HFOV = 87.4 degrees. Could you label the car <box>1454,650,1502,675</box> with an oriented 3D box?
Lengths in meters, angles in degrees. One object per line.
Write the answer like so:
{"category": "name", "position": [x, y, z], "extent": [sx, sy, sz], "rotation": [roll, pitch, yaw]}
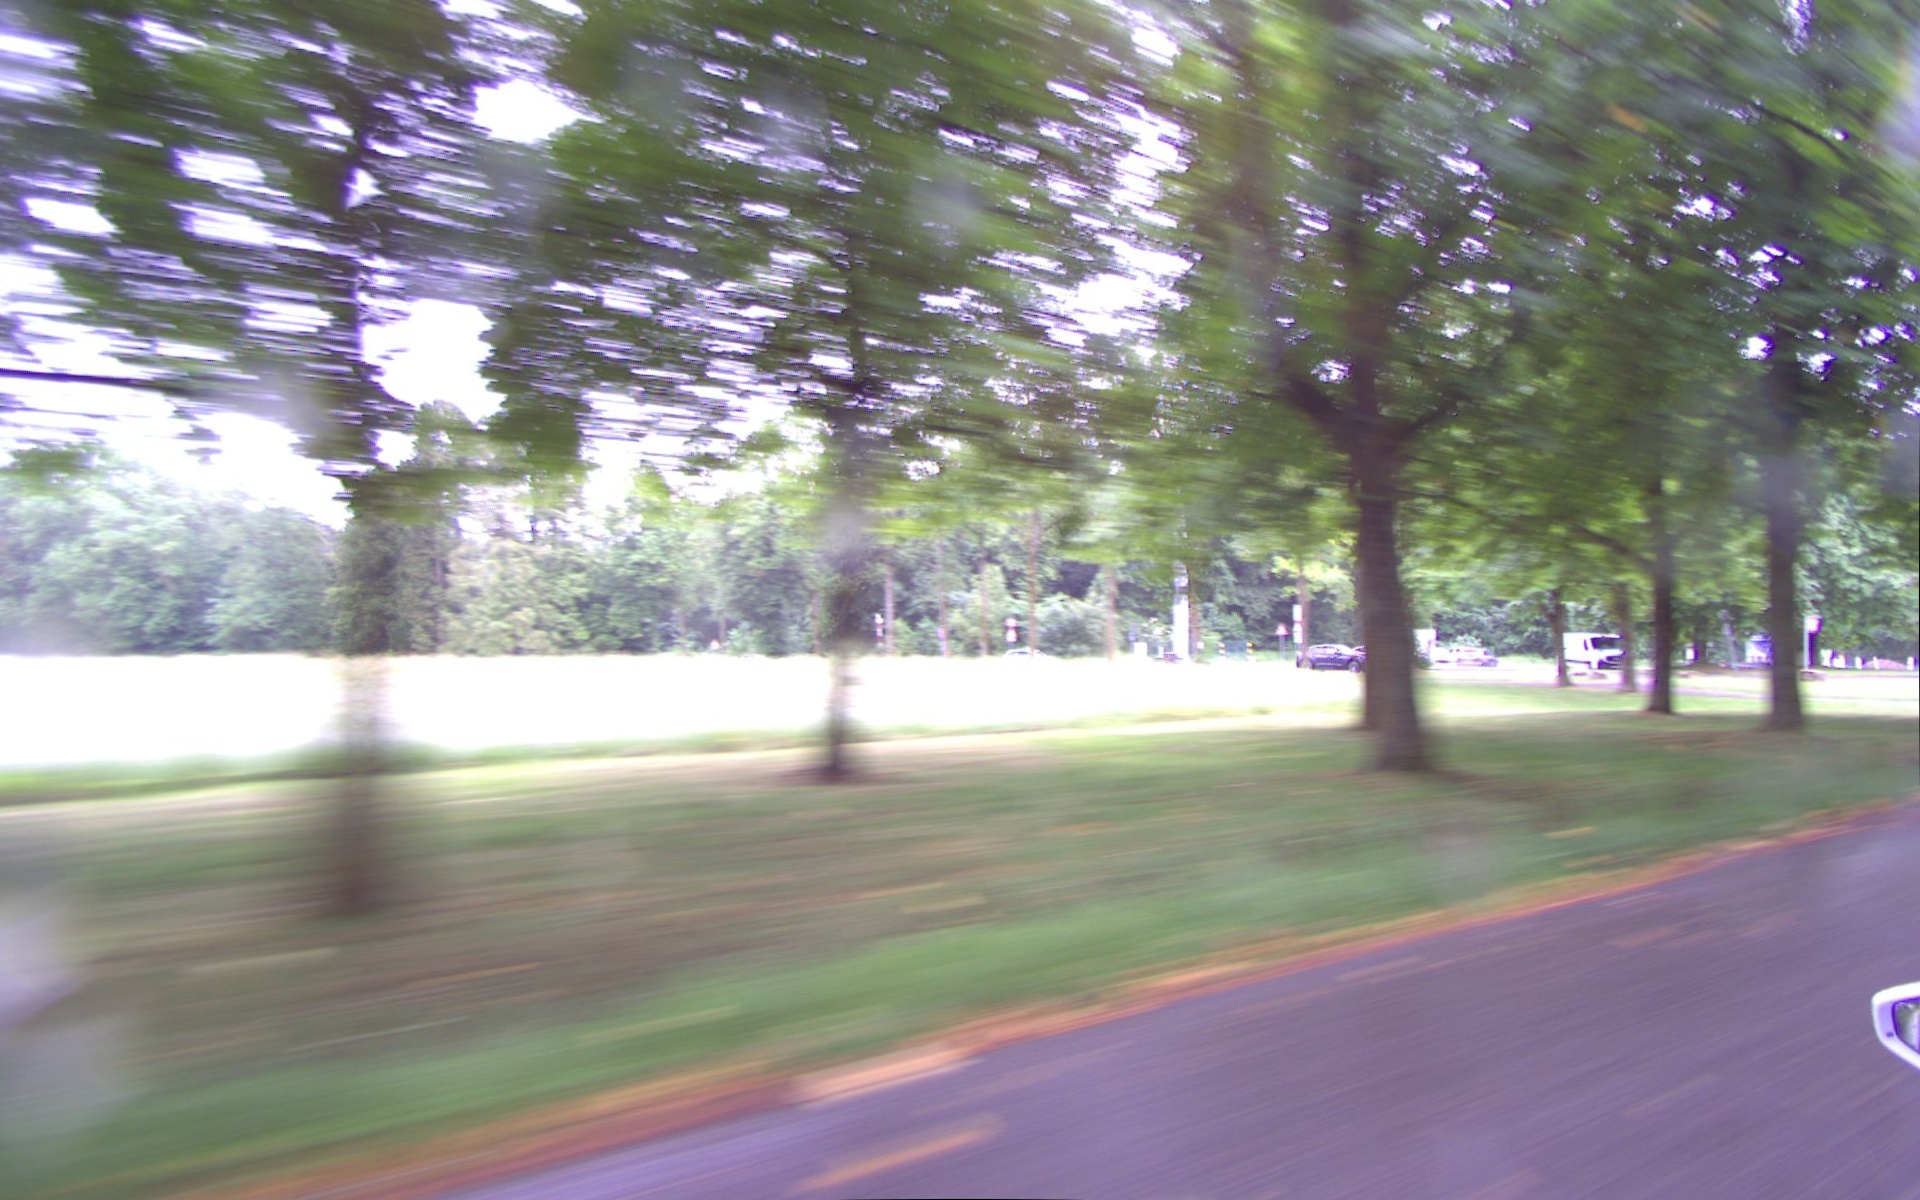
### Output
{"category": "car", "position": [31.809, 3.832, 61.614], "extent": [1.743, 1.448, 4.087], "rotation": [-2, -3, 41]}

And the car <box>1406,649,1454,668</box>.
{"category": "car", "position": [41.782, 5.228, 89.398], "extent": [1.965, 1.606, 3.993], "rotation": [1, -2, -11]}

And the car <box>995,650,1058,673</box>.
{"category": "car", "position": [4.936, 4.542, 74.957], "extent": [1.720, 1.621, 4.838], "rotation": [2, -3, -45]}

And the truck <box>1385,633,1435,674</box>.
{"category": "truck", "position": [28.535, 3.361, 63.613], "extent": [1.850, 2.474, 3.328], "rotation": [-2, -3, 45]}

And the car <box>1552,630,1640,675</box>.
{"category": "car", "position": [37.745, 3.136, 59.822], "extent": [2.344, 2.439, 5.990], "rotation": [1, -3, 11]}

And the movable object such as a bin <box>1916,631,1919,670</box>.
{"category": "movable object such as a bin", "position": [84.794, 4.345, 85.526], "extent": [3.884, 3.337, 4.614], "rotation": [2, -3, -41]}

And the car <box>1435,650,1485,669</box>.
{"category": "car", "position": [44.580, 5.332, 89.646], "extent": [1.965, 1.606, 3.993], "rotation": [1, -2, -11]}

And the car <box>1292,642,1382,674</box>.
{"category": "car", "position": [21.660, 3.325, 57.769], "extent": [4.513, 1.731, 1.721], "rotation": [-3, -4, 44]}
